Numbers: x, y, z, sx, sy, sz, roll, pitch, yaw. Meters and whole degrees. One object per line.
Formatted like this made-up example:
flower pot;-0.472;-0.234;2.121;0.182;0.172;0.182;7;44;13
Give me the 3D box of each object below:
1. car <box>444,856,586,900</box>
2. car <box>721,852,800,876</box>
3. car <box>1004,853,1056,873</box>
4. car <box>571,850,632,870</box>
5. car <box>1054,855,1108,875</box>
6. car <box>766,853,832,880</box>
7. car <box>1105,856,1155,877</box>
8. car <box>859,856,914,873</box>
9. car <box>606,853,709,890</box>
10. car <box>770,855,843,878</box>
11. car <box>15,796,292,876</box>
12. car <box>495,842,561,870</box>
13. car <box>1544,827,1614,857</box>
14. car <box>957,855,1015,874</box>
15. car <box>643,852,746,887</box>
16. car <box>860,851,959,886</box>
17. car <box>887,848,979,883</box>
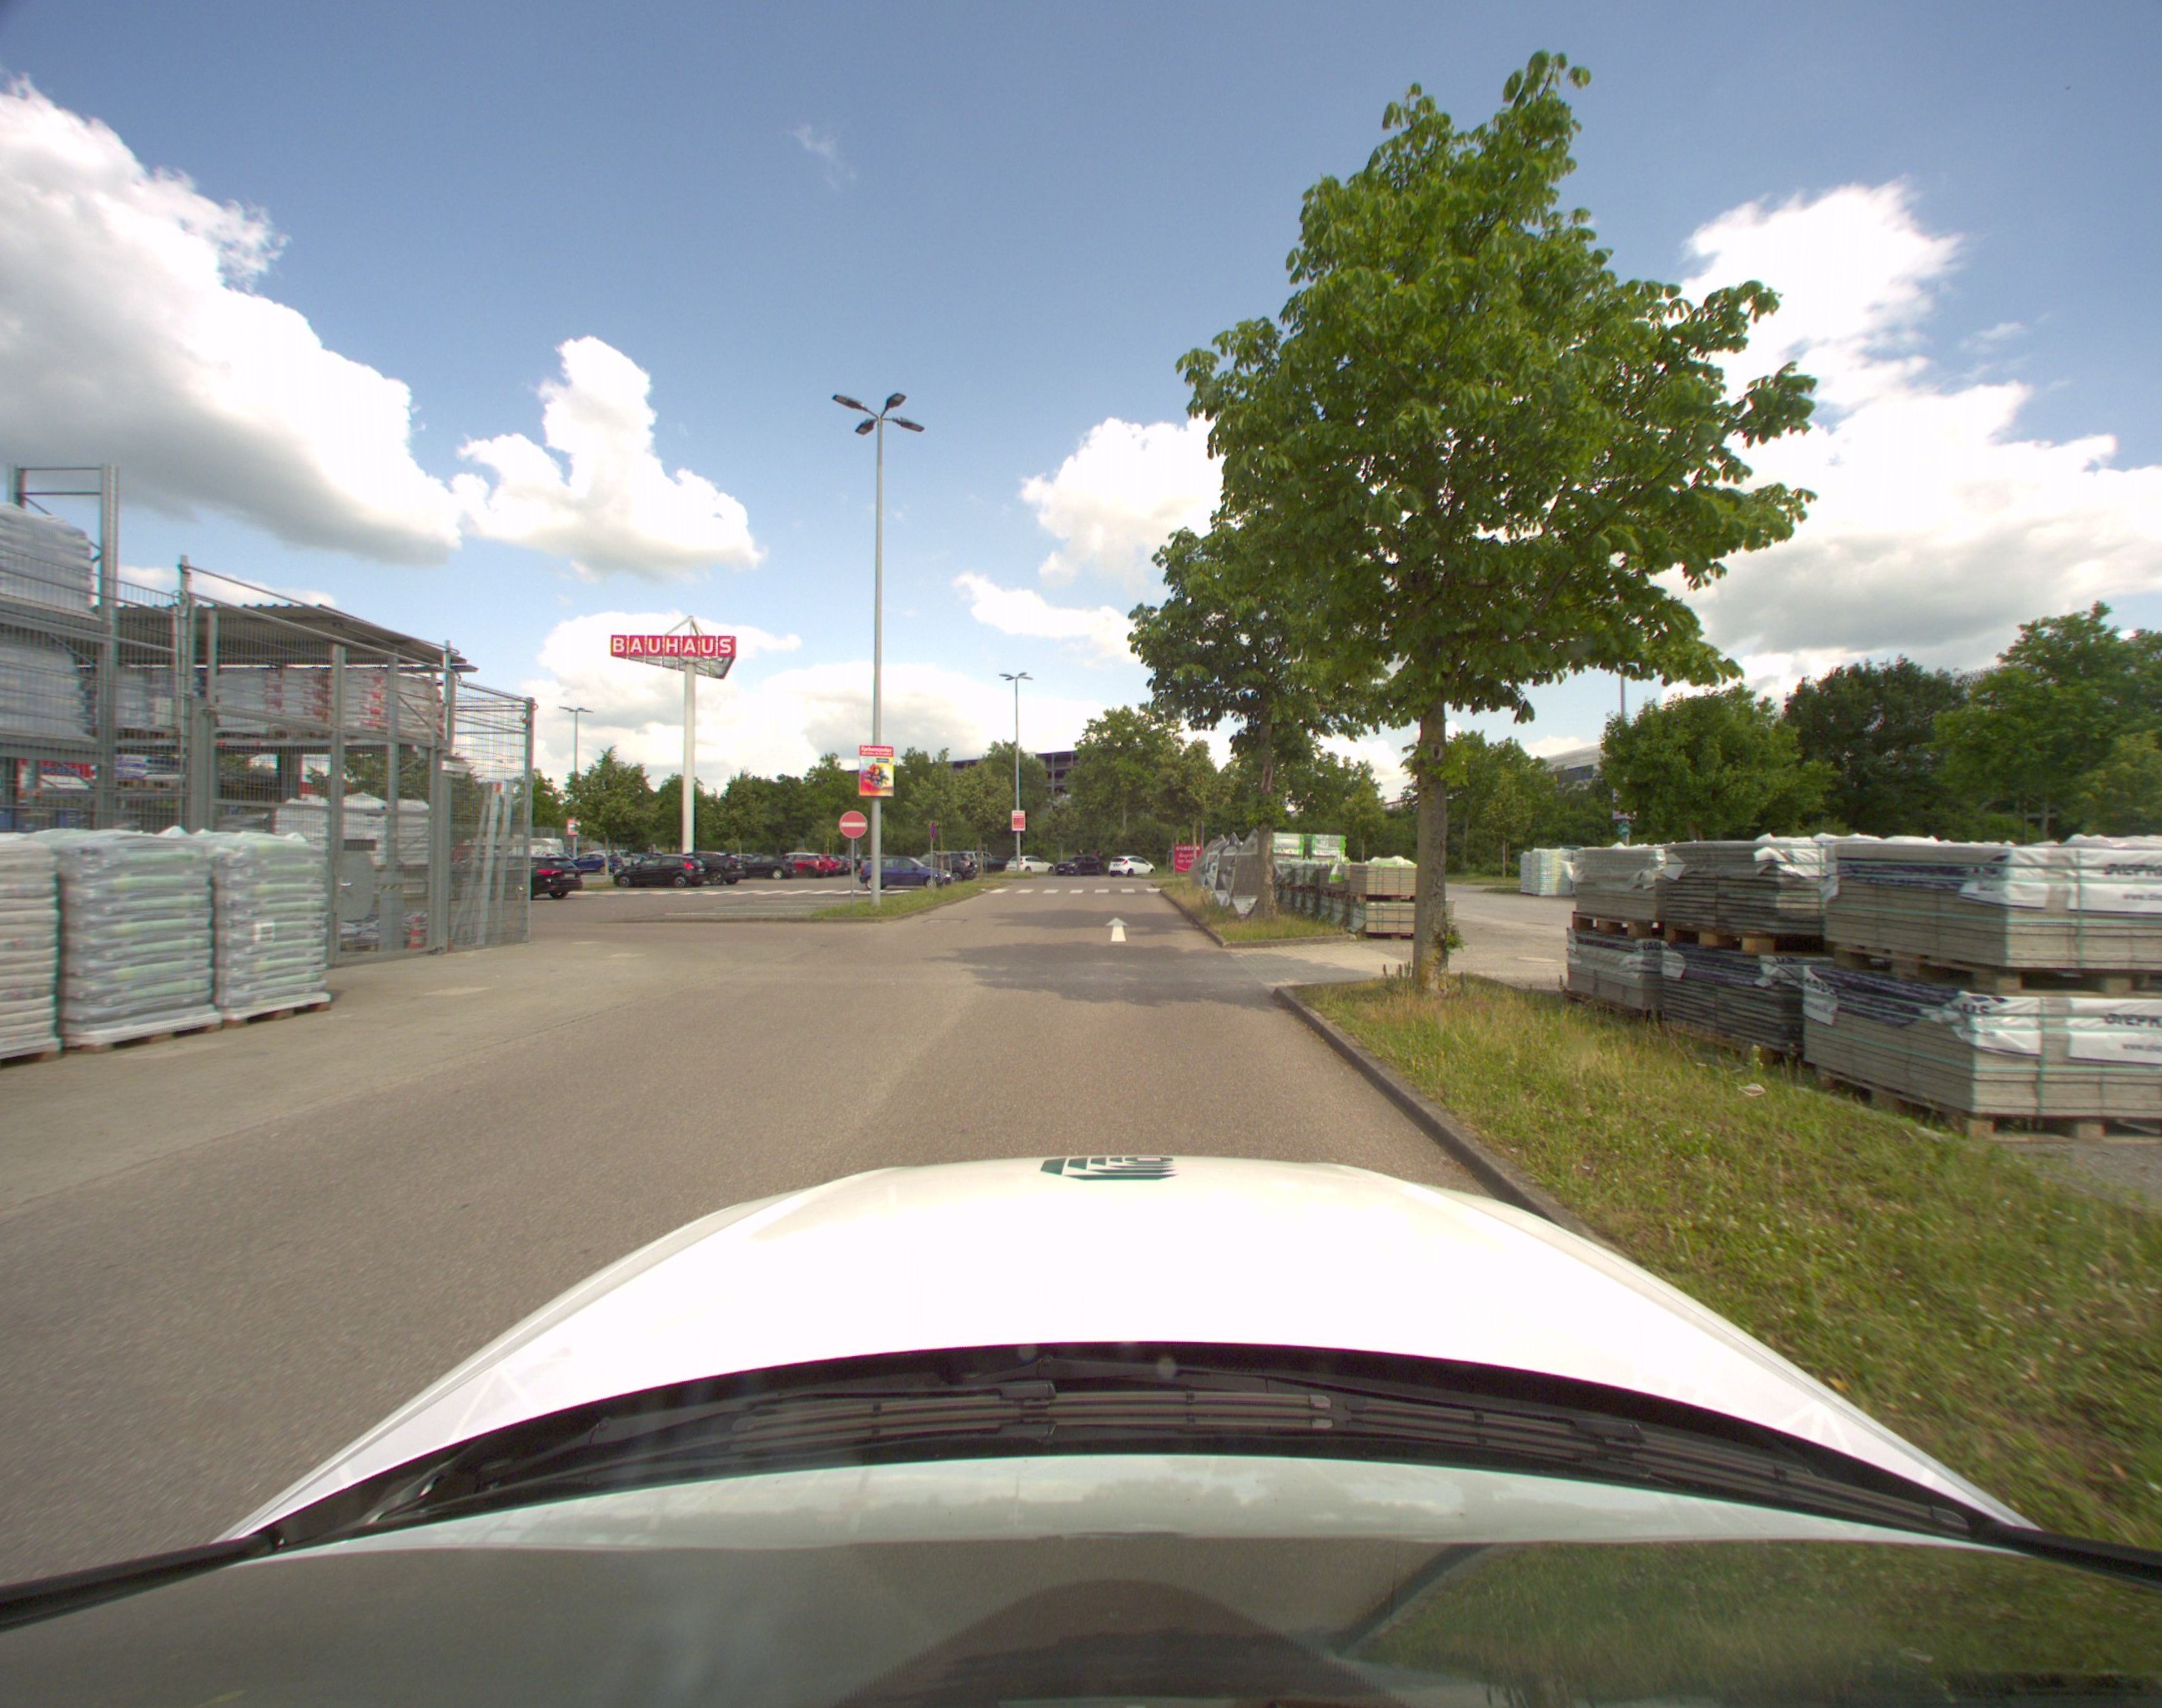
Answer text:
car;-18.480;0.759;26.709;3.335;1.404;1.810;0;0;-1
car;-18.538;0.584;47.263;3.858;1.369;1.729;0;0;0
car;-3.895;0.703;62.536;1.668;1.509;4.107;-1;-1;39
car;-40.171;0.494;68.325;3.974;1.596;1.910;0;0;0
car;0.042;0.795;59.806;1.711;1.410;4.270;0;0;37
car;-17.222;0.742;49.808;3.425;1.581;1.709;0;0;0
car;3.444;0.836;56.839;1.649;1.411;3.579;0;0;41
car;-17.092;0.902;71.768;1.761;1.504;4.684;0;0;36
car;-19.045;0.765;36.788;3.687;1.624;1.781;0;0;-4
car;-17.645;0.788;52.401;4.062;1.399;1.766;0;0;0
car;-24.548;-0.453;21.687;5.150;2.013;2.001;0;0;2
car;-51.894;0.171;76.461;4.695;2.510;2.054;1;-1;2
car;34.906;-0.831;57.117;3.949;2.013;2.012;0;0;42
car;-7.596;0.796;65.679;1.816;1.451;4.755;0;0;38
car;-18.457;0.713;39.035;4.057;1.624;1.784;0;0;0
car;-7.068;0.586;33.764;3.736;1.368;1.622;0;0;2
car;-6.971;0.533;38.637;3.933;1.624;1.738;0;0;4
